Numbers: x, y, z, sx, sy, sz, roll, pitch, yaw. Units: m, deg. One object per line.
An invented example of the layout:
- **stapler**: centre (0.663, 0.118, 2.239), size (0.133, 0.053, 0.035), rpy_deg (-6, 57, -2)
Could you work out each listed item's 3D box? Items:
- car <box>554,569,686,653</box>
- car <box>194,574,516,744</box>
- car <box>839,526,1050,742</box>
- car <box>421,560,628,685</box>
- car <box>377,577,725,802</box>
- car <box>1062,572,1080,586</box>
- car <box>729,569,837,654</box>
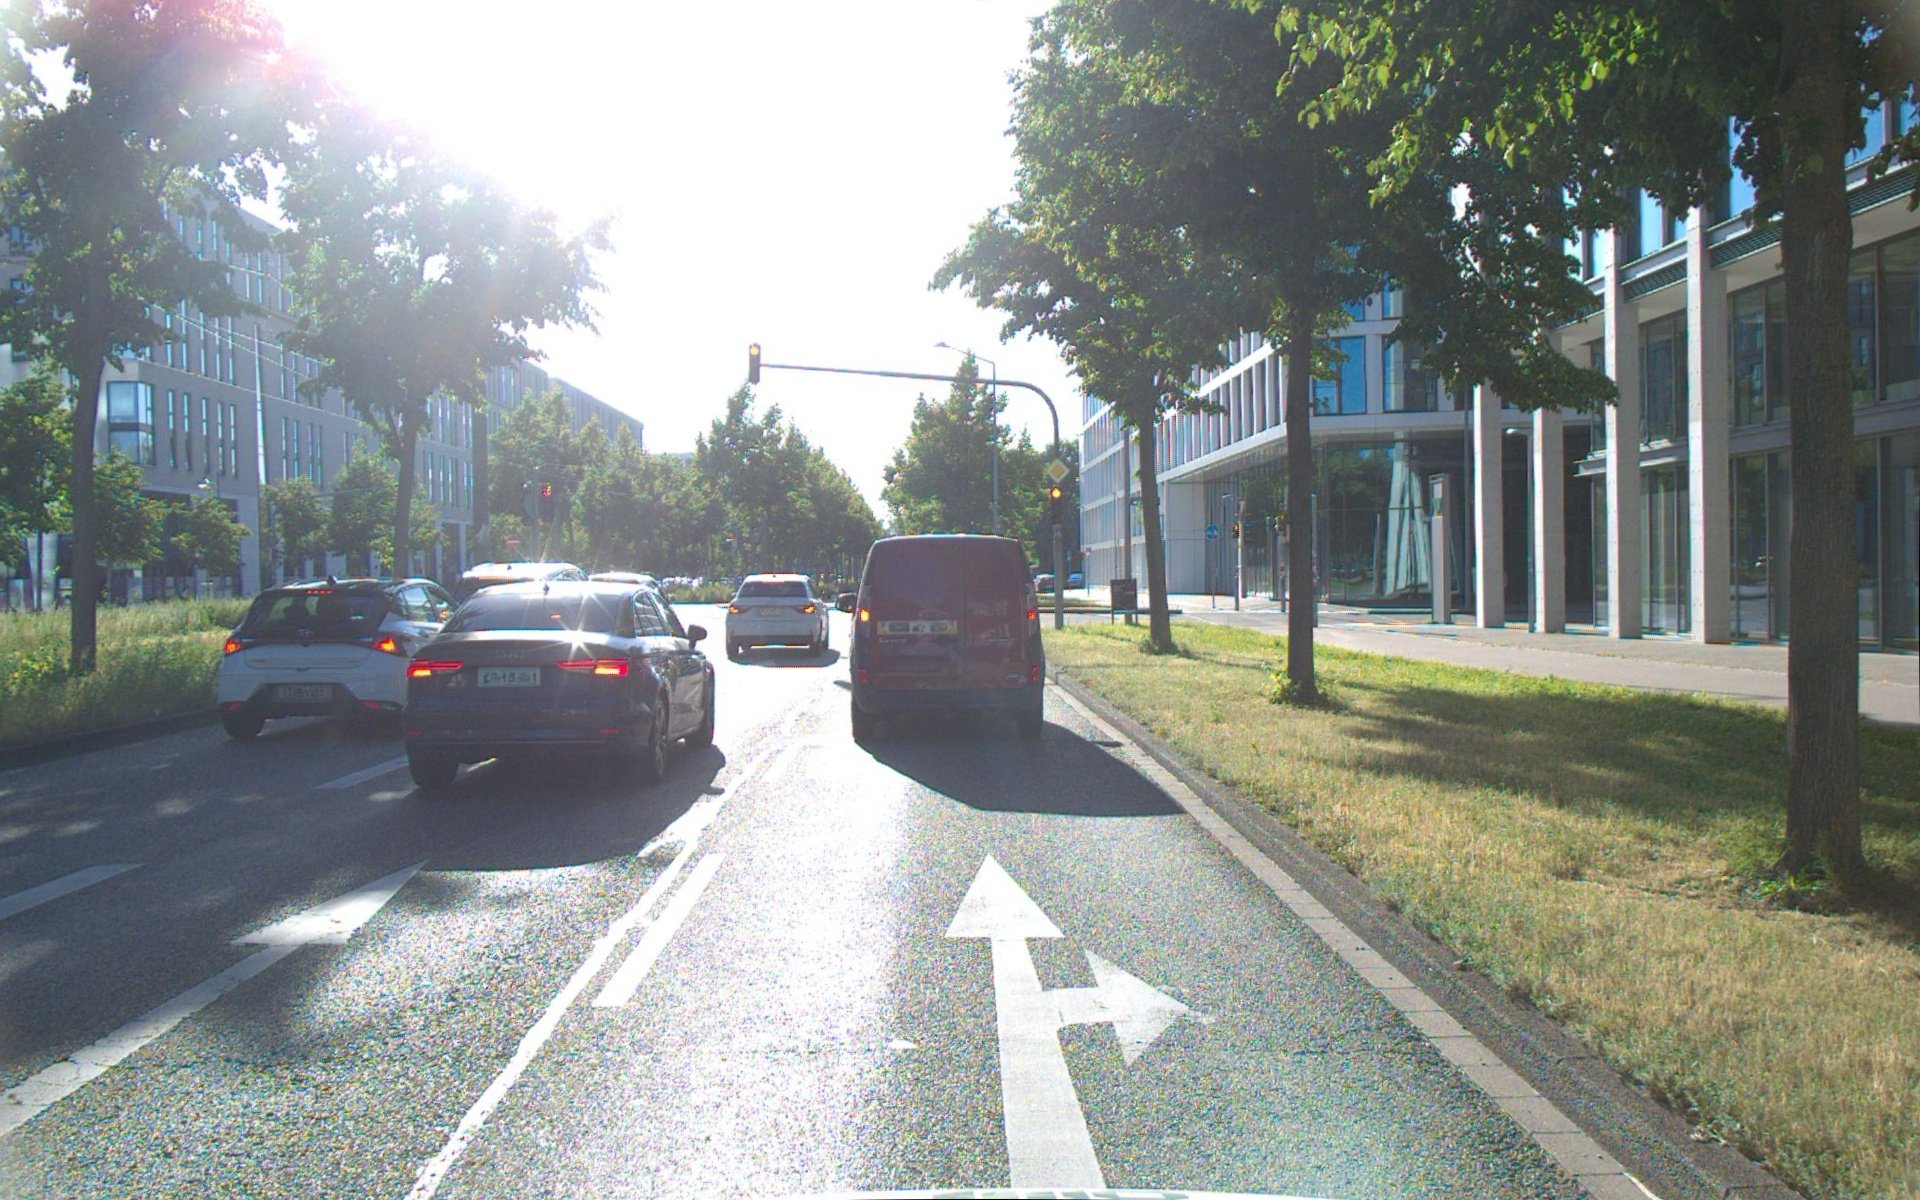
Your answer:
- **car**: centre (-6.302, 0.156, 31.070), size (1.680, 1.422, 4.000), rpy_deg (-1, 1, -1)
- **car**: centre (-5.844, 0.490, 16.528), size (1.903, 1.466, 3.998), rpy_deg (-1, 1, -3)
- **car**: centre (-0.100, 0.251, 16.103), size (1.760, 1.808, 4.001), rpy_deg (-1, 1, 1)
- **car**: centre (-5.976, 0.254, 23.161), size (1.805, 1.561, 3.940), rpy_deg (-1, 1, 0)
- **car**: centre (-2.901, 0.541, 12.634), size (1.686, 1.390, 4.145), rpy_deg (0, 1, -1)
- **car**: centre (11.109, -2.131, 165.726), size (1.531, 1.391, 3.333), rpy_deg (-1, 1, 0)
- **car**: centre (-3.272, 0.170, 31.111), size (1.686, 1.450, 3.816), rpy_deg (-1, 1, -2)
